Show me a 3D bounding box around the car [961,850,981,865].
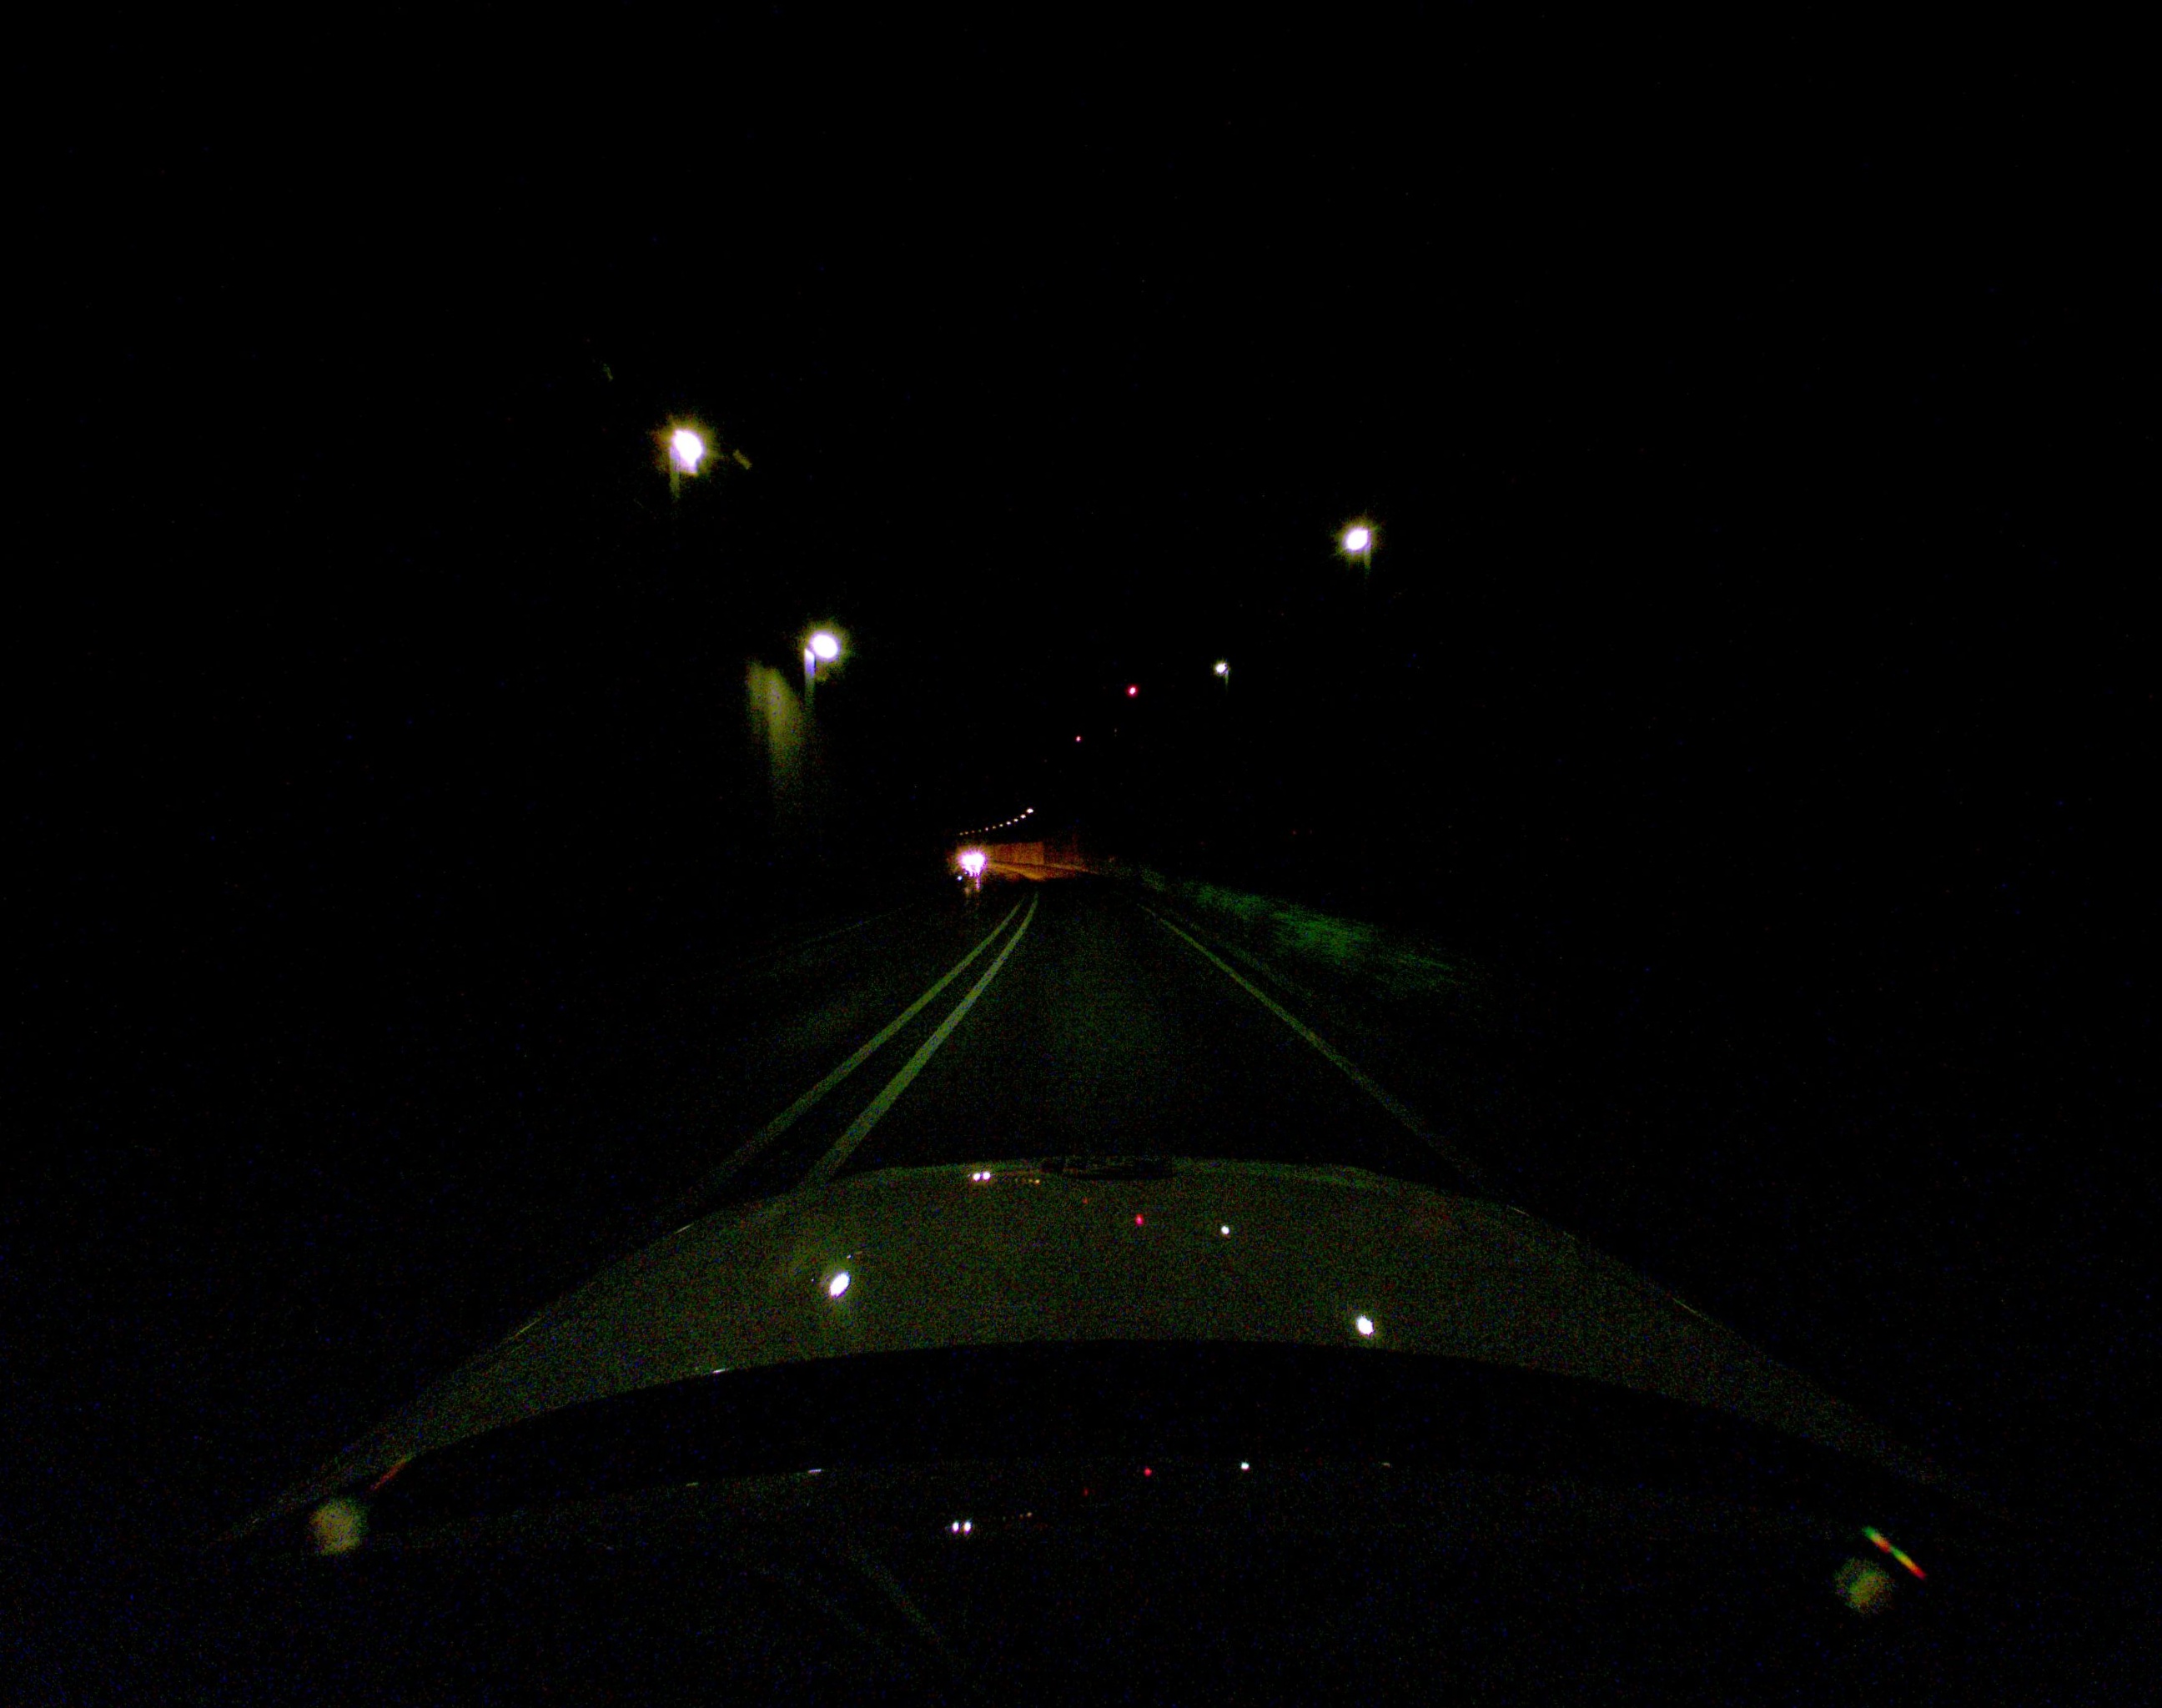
[{"bbox_3d":[-14.041,0.473,103.913,1.996,1.740,3.982,5,-1,-13],"label":"car"}]
